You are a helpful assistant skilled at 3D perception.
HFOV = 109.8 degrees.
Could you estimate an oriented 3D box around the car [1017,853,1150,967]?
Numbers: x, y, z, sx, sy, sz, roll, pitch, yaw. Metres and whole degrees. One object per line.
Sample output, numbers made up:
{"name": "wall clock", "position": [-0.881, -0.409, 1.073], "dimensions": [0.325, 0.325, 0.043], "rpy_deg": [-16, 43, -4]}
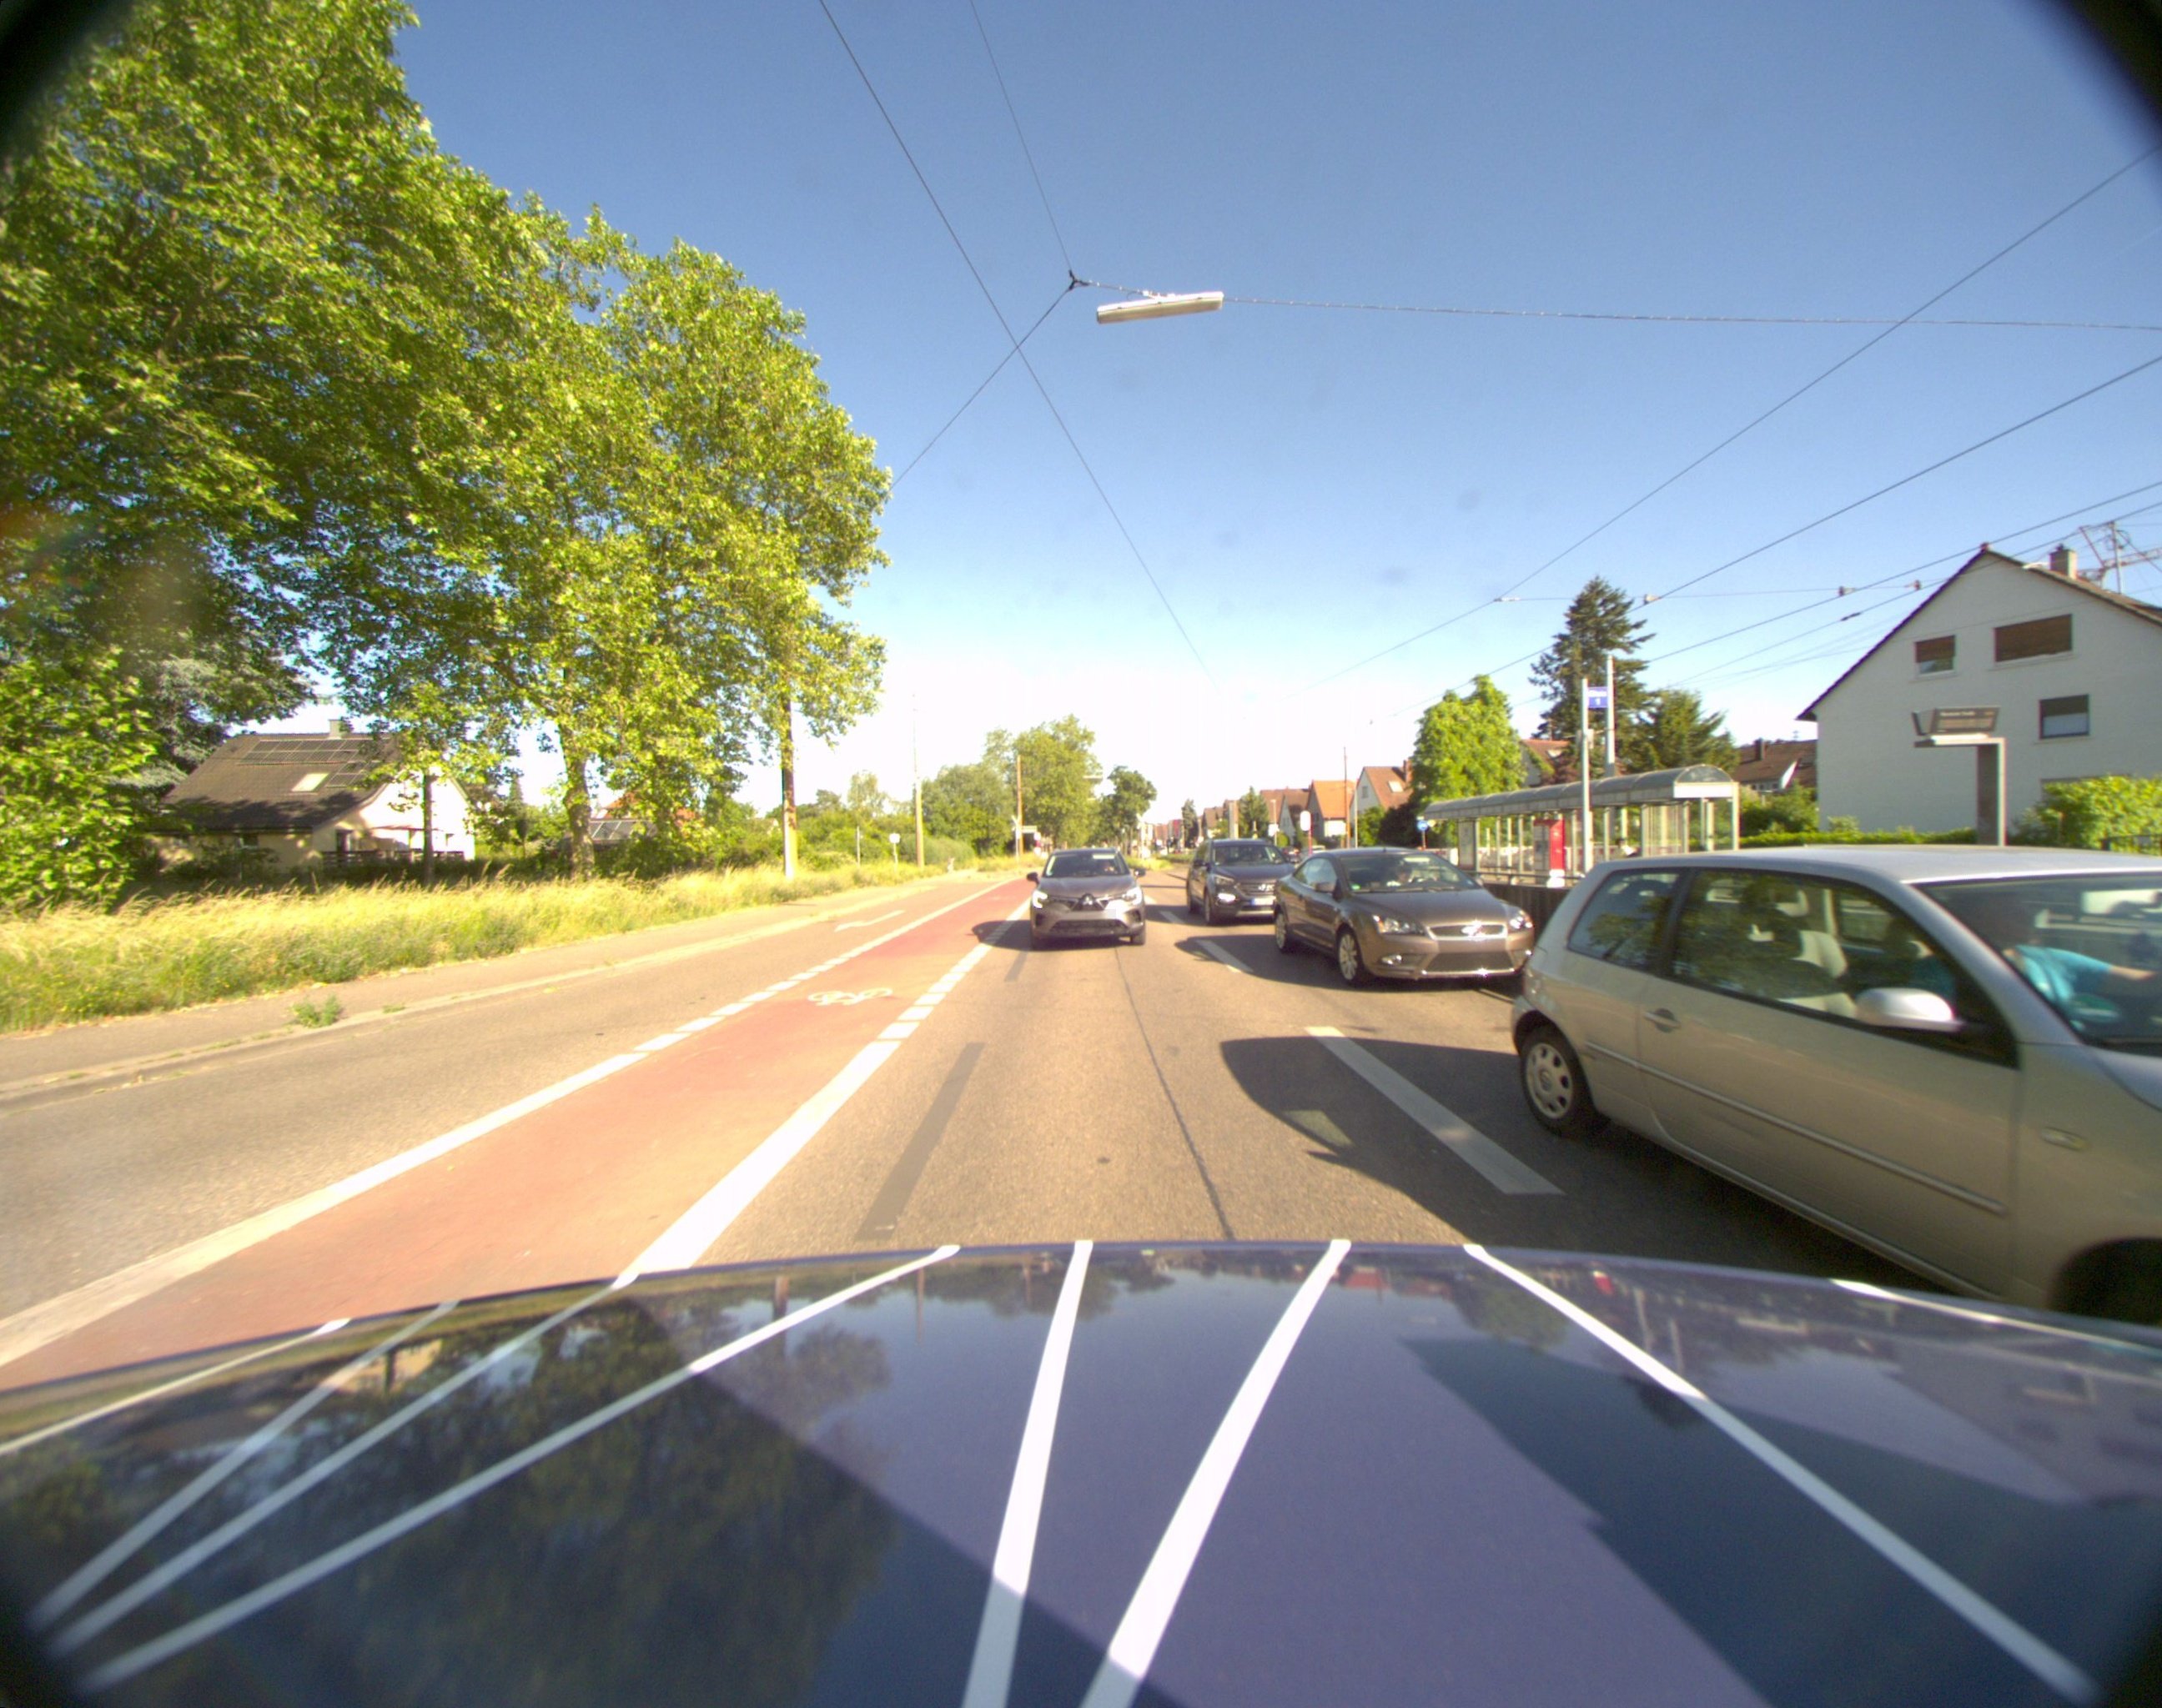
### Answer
{"name": "car", "position": [0.061, 0.782, 12.554], "dimensions": [1.839, 1.541, 3.815], "rpy_deg": [-1, 0, 1]}

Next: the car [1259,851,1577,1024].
{"name": "car", "position": [3.570, 0.746, 9.002], "dimensions": [1.755, 1.525, 4.193], "rpy_deg": [-1, 0, -2]}

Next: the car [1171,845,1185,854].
{"name": "car", "position": [16.879, -0.832, 132.724], "dimensions": [1.998, 1.455, 4.000], "rpy_deg": [-1, 0, 1]}

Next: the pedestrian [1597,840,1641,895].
{"name": "pedestrian", "position": [14.226, 0.357, 20.098], "dimensions": [0.623, 1.406, 0.711], "rpy_deg": [-2, 1, -2]}

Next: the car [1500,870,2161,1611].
{"name": "car", "position": [3.056, 0.849, 2.336], "dimensions": [1.585, 1.459, 3.414], "rpy_deg": [-2, 0, -1]}

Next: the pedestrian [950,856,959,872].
{"name": "pedestrian", "position": [-7.959, 0.641, 47.895], "dimensions": [0.482, 1.027, 0.454], "rpy_deg": [-1, 1, 1]}

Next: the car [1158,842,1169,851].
{"name": "car", "position": [17.456, -1.588, 160.954], "dimensions": [1.998, 1.761, 4.000], "rpy_deg": [-1, 1, 1]}

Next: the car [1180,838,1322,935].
{"name": "car", "position": [3.315, 0.563, 15.705], "dimensions": [1.886, 1.686, 4.299], "rpy_deg": [-1, 0, -1]}

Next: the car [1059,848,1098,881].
{"name": "car", "position": [-0.111, 0.492, 38.030], "dimensions": [1.839, 1.541, 3.815], "rpy_deg": [-1, 0, 0]}
